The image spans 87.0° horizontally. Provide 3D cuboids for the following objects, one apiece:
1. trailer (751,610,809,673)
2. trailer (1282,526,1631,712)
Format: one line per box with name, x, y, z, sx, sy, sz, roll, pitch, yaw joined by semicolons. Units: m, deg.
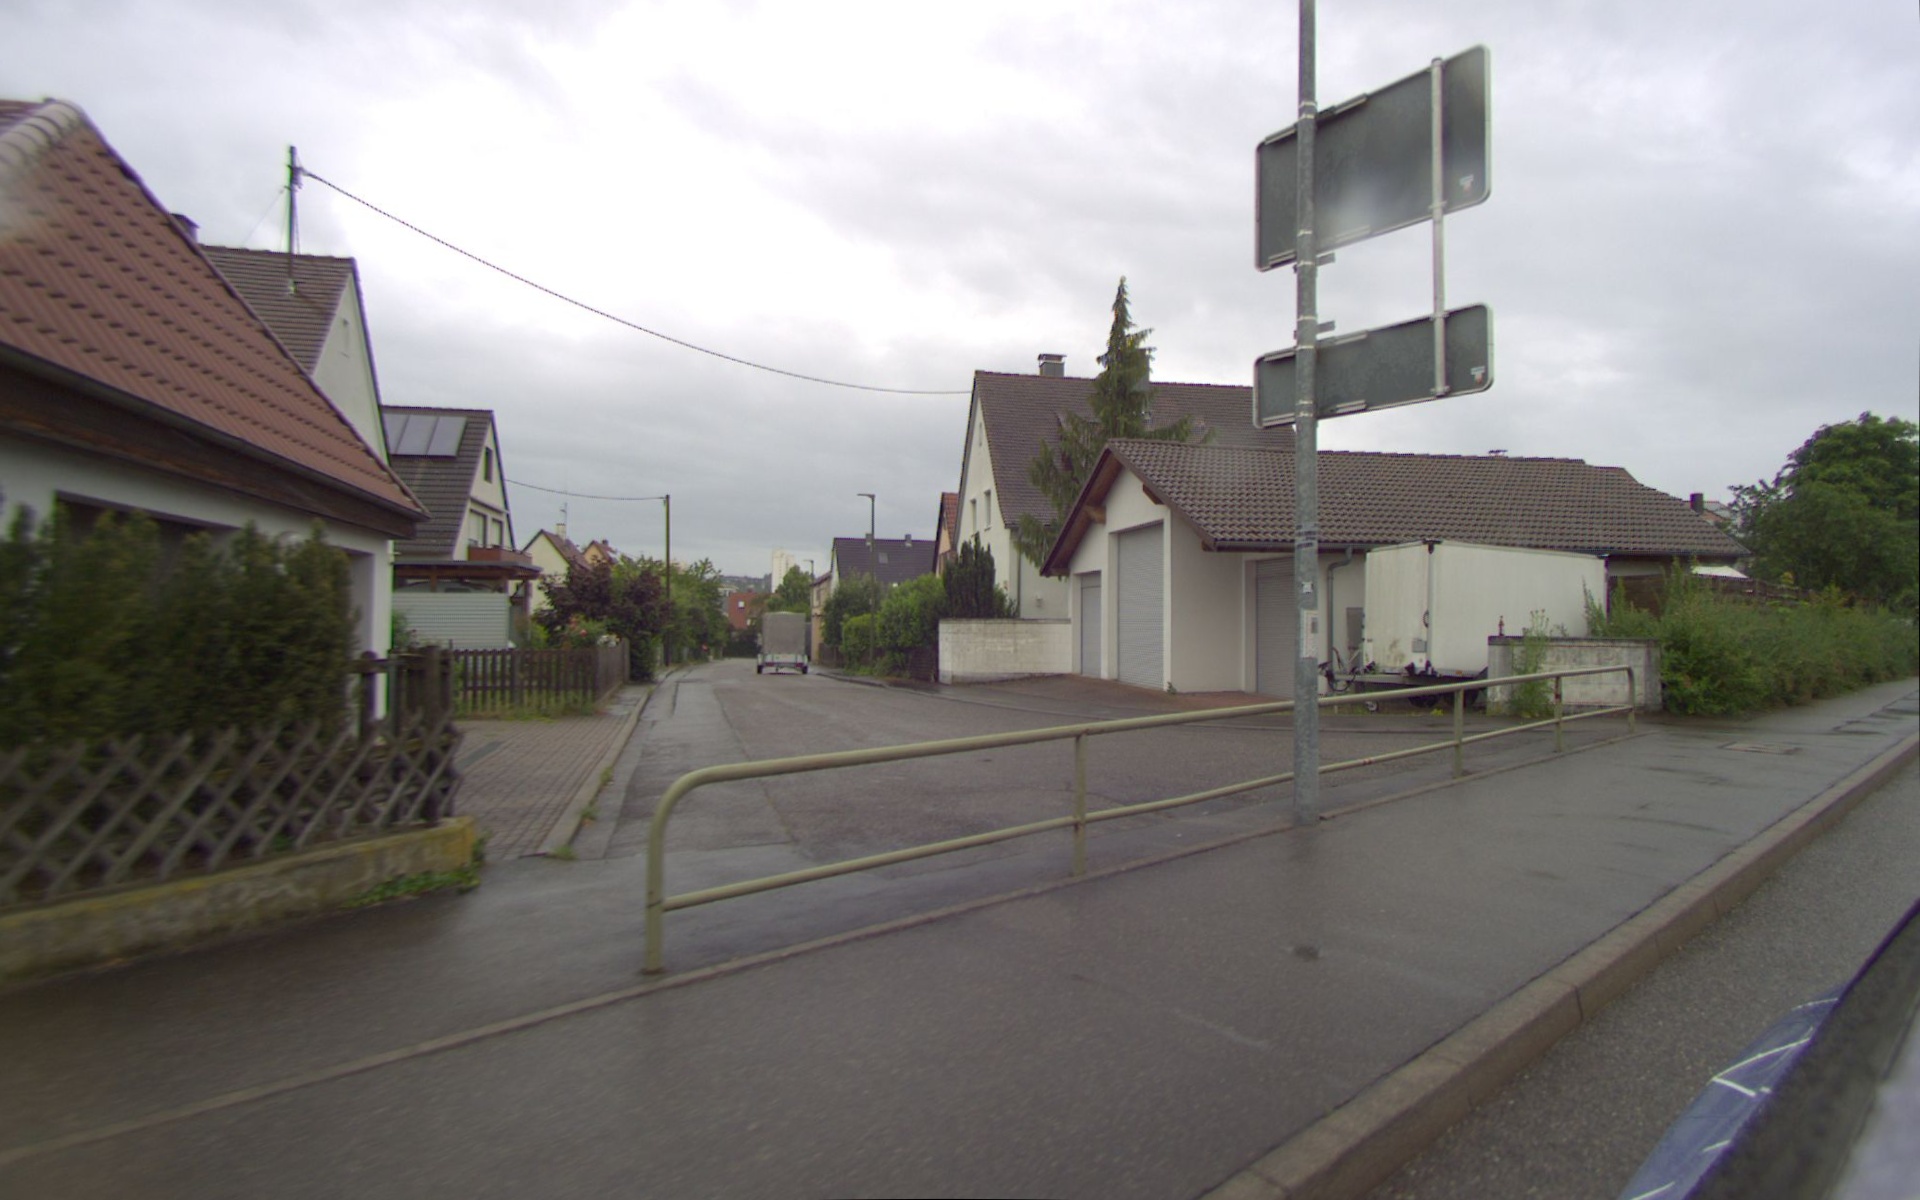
trailer;-7.278;1.603;40.614;1.925;2.373;4.007;0;-1;-15
trailer;7.367;0.264;15.134;4.605;2.550;1.652;0;-1;-12
